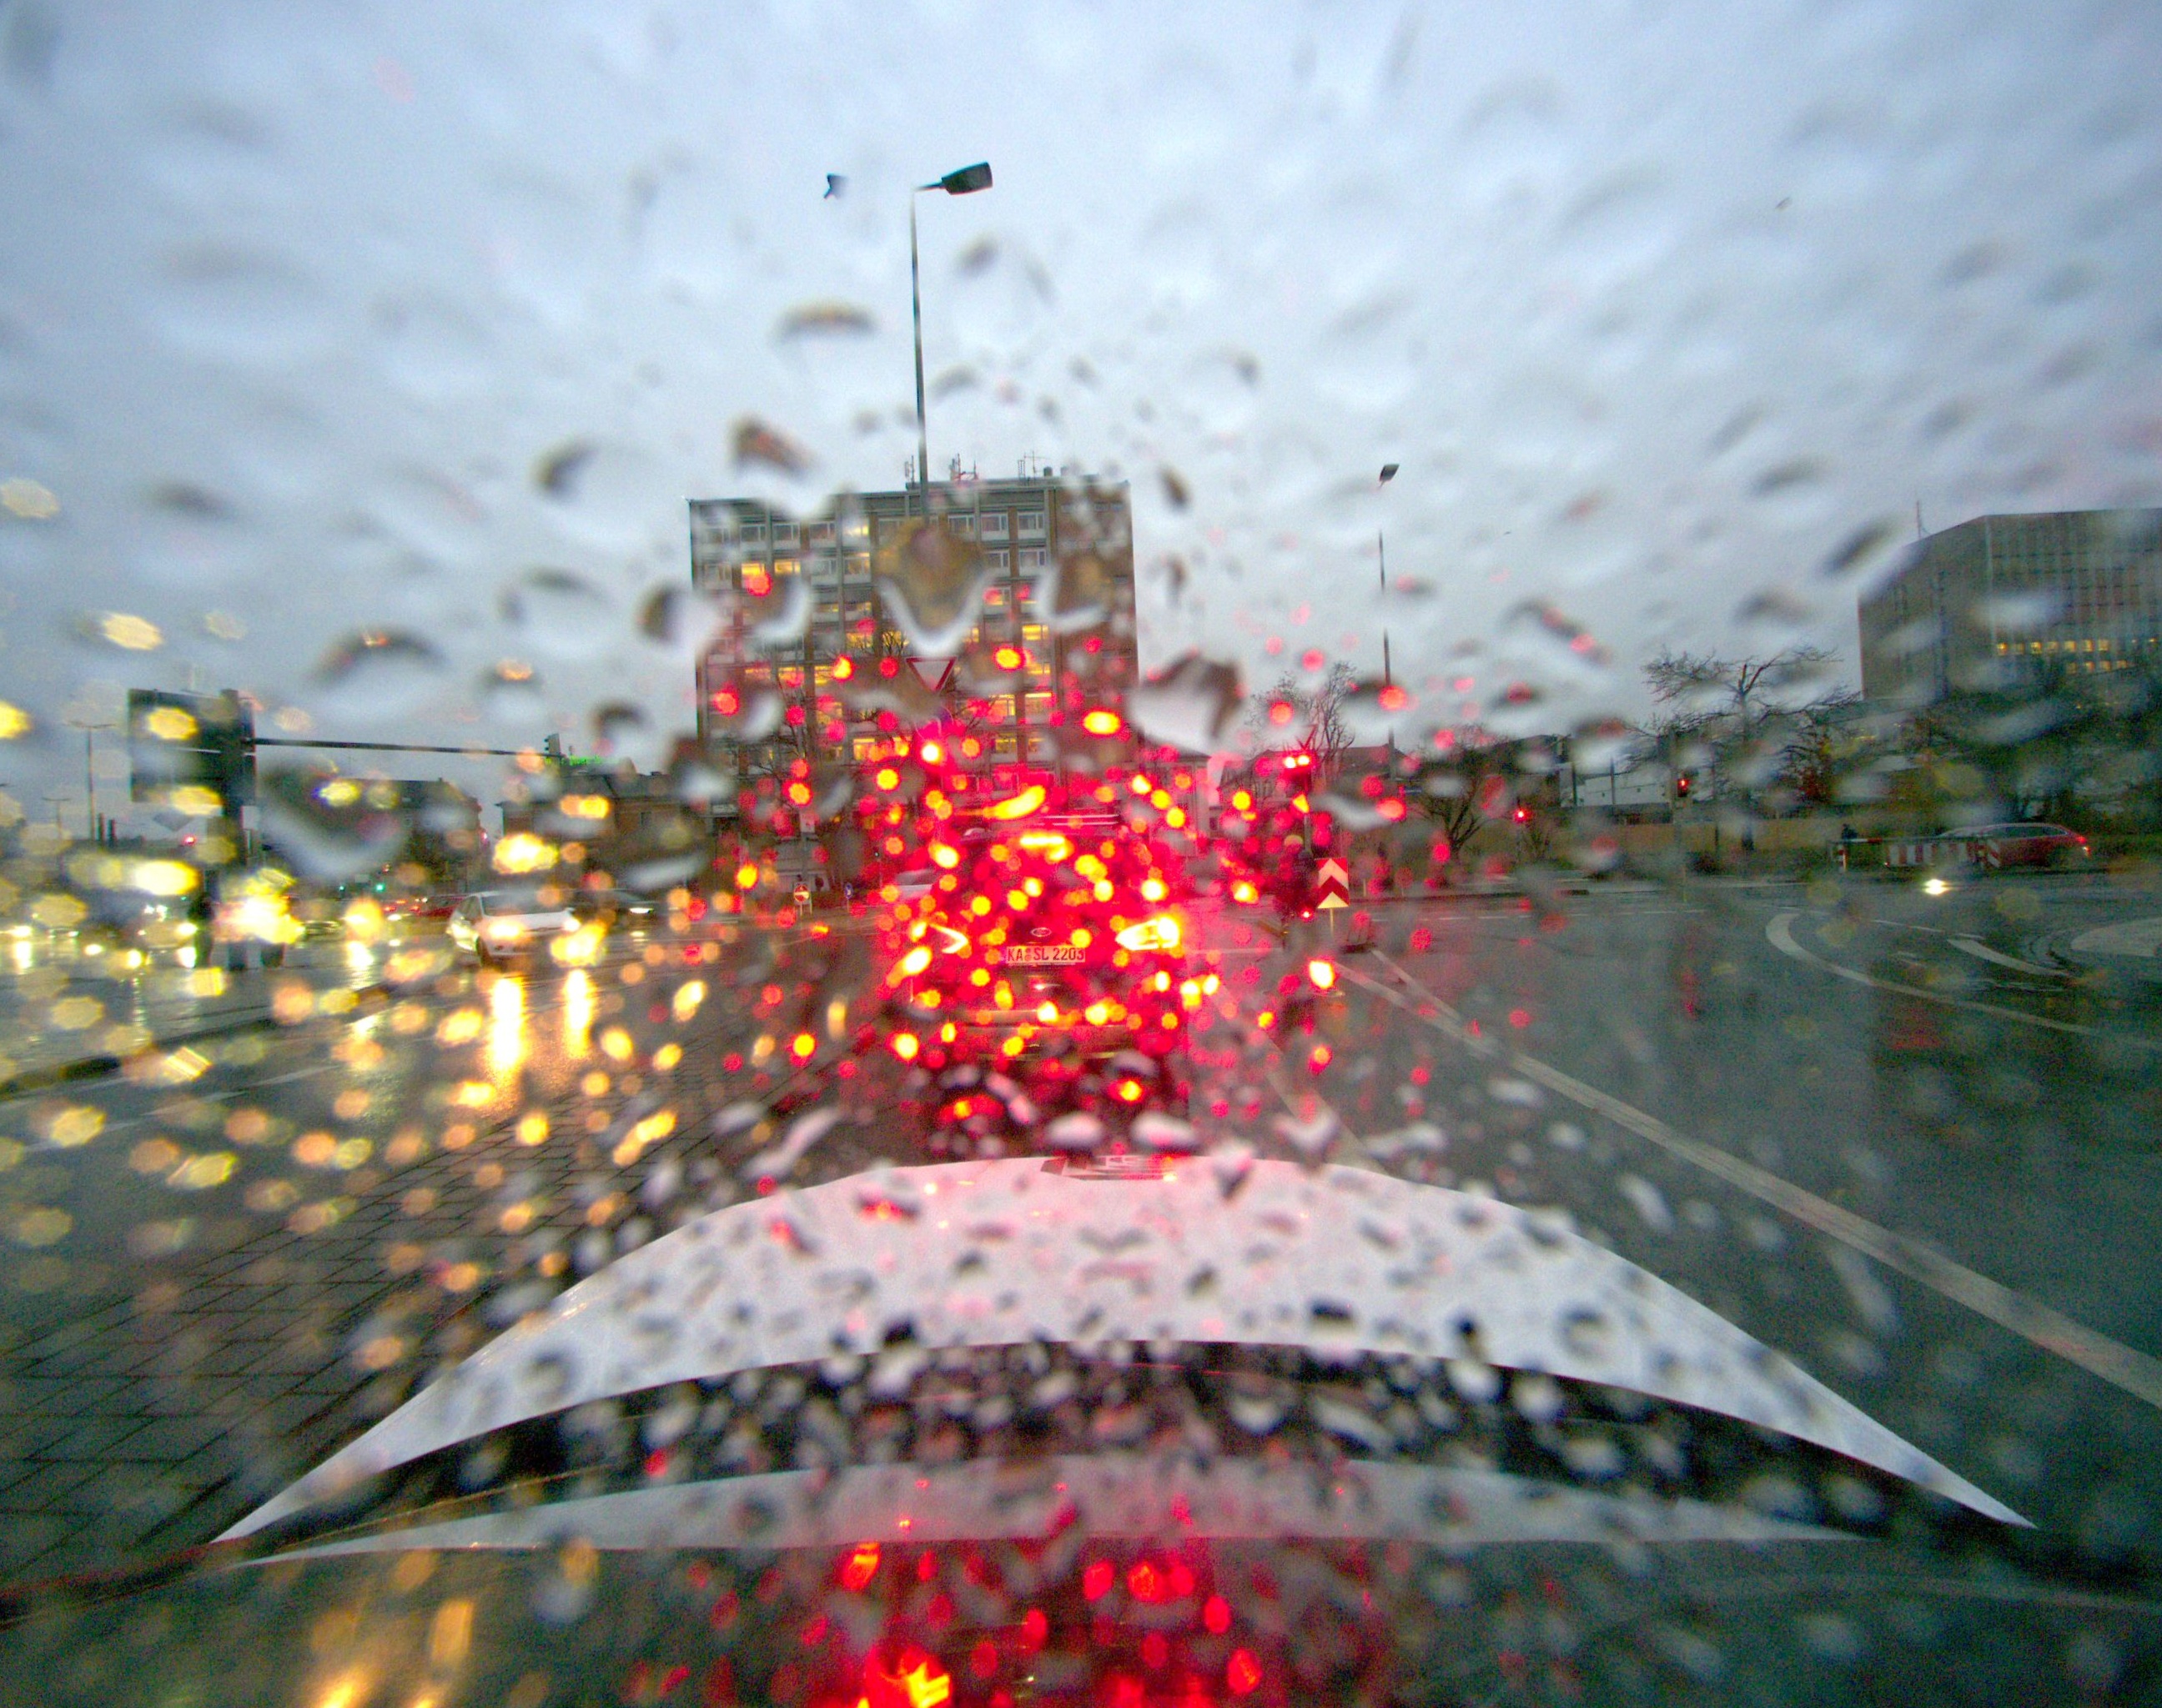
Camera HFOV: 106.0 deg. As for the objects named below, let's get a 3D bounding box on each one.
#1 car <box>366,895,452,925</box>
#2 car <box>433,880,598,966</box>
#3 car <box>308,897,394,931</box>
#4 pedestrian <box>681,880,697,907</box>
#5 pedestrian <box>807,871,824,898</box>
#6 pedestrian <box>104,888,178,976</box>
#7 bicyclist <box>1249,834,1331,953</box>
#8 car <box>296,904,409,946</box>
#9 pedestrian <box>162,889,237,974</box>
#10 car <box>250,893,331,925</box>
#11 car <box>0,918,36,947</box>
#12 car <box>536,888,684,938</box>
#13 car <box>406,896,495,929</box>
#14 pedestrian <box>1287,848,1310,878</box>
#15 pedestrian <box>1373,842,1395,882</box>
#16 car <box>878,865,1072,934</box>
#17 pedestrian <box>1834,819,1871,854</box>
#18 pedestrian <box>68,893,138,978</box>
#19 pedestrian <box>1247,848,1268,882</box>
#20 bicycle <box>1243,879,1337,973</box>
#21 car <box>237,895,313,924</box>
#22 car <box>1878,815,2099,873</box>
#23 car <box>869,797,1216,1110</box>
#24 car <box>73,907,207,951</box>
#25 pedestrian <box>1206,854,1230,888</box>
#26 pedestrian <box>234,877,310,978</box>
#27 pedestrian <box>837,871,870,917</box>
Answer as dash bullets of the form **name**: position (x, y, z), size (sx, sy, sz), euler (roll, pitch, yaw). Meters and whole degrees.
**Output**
- **car**: position (-38.403, 3.172, 46.613), size (1.496, 1.461, 3.453), euler (-1, -1, 31)
- **car**: position (-11.639, 1.413, 16.686), size (3.665, 1.448, 1.756), euler (-5, -1, 39)
- **car**: position (-38.086, 3.083, 42.511), size (3.951, 1.568, 1.837), euler (-1, -1, 23)
- **pedestrian**: position (-26.270, 2.647, 54.543), size (0.634, 1.688, 0.640), euler (-3, 0, 18)
- **pedestrian**: position (-16.533, 1.902, 50.710), size (0.753, 1.628, 0.560), euler (-3, 0, 16)
- **pedestrian**: position (-20.768, 1.704, 18.012), size (0.733, 1.838, 0.674), euler (-3, 0, -11)
- **bicyclist**: position (2.665, 0.487, 10.498), size (0.780, 1.453, 1.134), euler (0, -1, 2)
- **car**: position (-29.199, 2.838, 32.654), size (3.920, 1.477, 1.821), euler (-3, -1, 23)
- **pedestrian**: position (-19.542, 1.704, 18.068), size (0.653, 1.755, 0.856), euler (-3, 0, 18)
- **car**: position (-51.160, 3.527, 52.765), size (1.649, 1.826, 3.609), euler (-1, -1, 39)
- **car**: position (-61.827, 4.525, 46.446), size (4.612, 1.477, 1.822), euler (-3, -1, 27)
- **car**: position (-16.217, 2.038, 28.069), size (4.540, 1.477, 1.820), euler (-3, -1, 19)
- **car**: position (-33.329, 3.052, 43.070), size (3.954, 1.568, 1.836), euler (-1, -1, 20)
- **pedestrian**: position (11.314, 0.464, 42.375), size (0.920, 1.533, 1.045), euler (-3, 0, 6)
- **pedestrian**: position (16.838, 0.431, 45.241), size (0.878, 2.113, 0.897), euler (-3, 0, 6)
- **car**: position (-2.781, 1.187, 21.706), size (4.650, 1.552, 1.946), euler (-3, -1, 14)
- **pedestrian**: position (37.305, -0.846, 39.399), size (0.956, 1.603, 0.796), euler (-3, 0, 9)
- **pedestrian**: position (-21.454, 1.777, 17.874), size (0.741, 1.770, 0.546), euler (-3, 0, -12)
- **pedestrian**: position (9.523, 0.581, 44.027), size (0.990, 1.799, 0.922), euler (-3, 0, 10)
- **bicycle**: position (2.685, 0.884, 10.698), size (0.780, 1.075, 1.958), euler (0, -1, 2)
- **car**: position (-53.095, 3.610, 53.657), size (1.505, 1.702, 3.411), euler (-1, -1, 39)
- **car**: position (27.576, -0.269, 24.884), size (4.390, 1.477, 1.814), euler (-3, -1, 6)
- **car**: position (-0.162, 0.588, 6.683), size (1.986, 1.789, 4.001), euler (0, -1, 2)
- **car**: position (-37.264, 2.957, 32.261), size (4.540, 1.477, 1.820), euler (-3, -1, 18)
- **pedestrian**: position (7.219, 0.890, 42.820), size (1.127, 1.720, 0.984), euler (-3, 0, 12)
- **pedestrian**: position (-17.318, 1.550, 17.459), size (0.996, 2.021, 0.792), euler (-3, 0, -39)
- **pedestrian**: position (-10.123, 1.768, 36.279), size (0.919, 1.978, 0.966), euler (-3, 0, 25)
